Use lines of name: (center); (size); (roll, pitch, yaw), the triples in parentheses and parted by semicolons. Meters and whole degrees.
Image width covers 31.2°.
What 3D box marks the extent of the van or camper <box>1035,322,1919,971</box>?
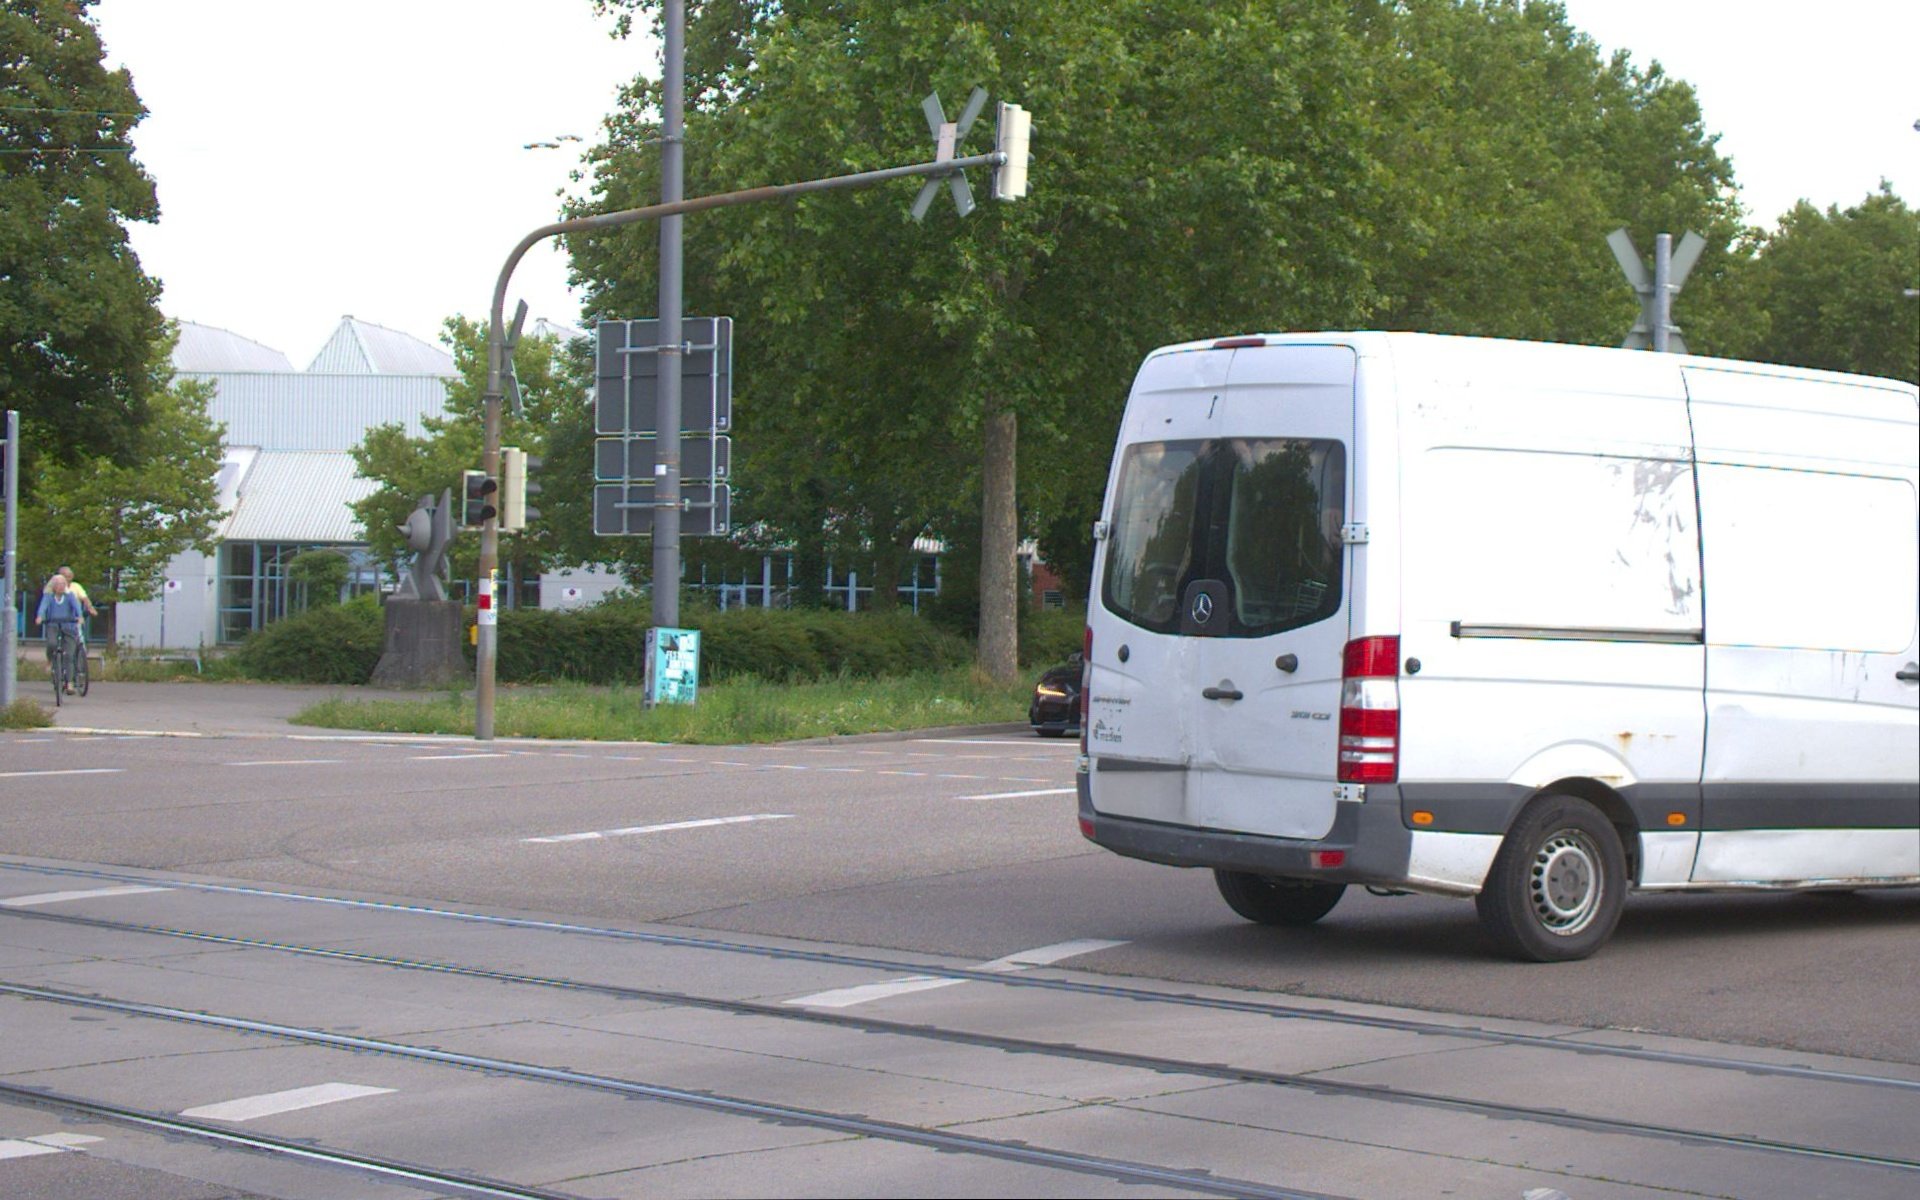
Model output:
van or camper: (3.409, 0.213, 15.810); (6.017, 2.516, 1.982); (1, 0, -33)

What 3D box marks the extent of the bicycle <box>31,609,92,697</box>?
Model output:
bicycle: (-11.890, 0.695, 45.512); (0.560, 1.126, 1.380); (2, -1, -7)

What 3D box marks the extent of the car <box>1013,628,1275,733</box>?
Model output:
car: (2.310, 0.957, 42.233); (1.637, 1.187, 3.701); (1, 0, 31)

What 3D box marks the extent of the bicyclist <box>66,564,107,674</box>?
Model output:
bicyclist: (-12.540, 0.268, 49.359); (0.485, 1.548, 0.556); (2, 0, -17)

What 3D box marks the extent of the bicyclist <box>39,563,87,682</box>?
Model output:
bicyclist: (-11.876, 0.301, 45.517); (0.485, 1.549, 0.556); (3, -2, -8)

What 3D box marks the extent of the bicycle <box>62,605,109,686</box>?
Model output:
bicycle: (-12.556, 0.648, 49.357); (0.560, 1.126, 1.380); (1, 0, -17)
